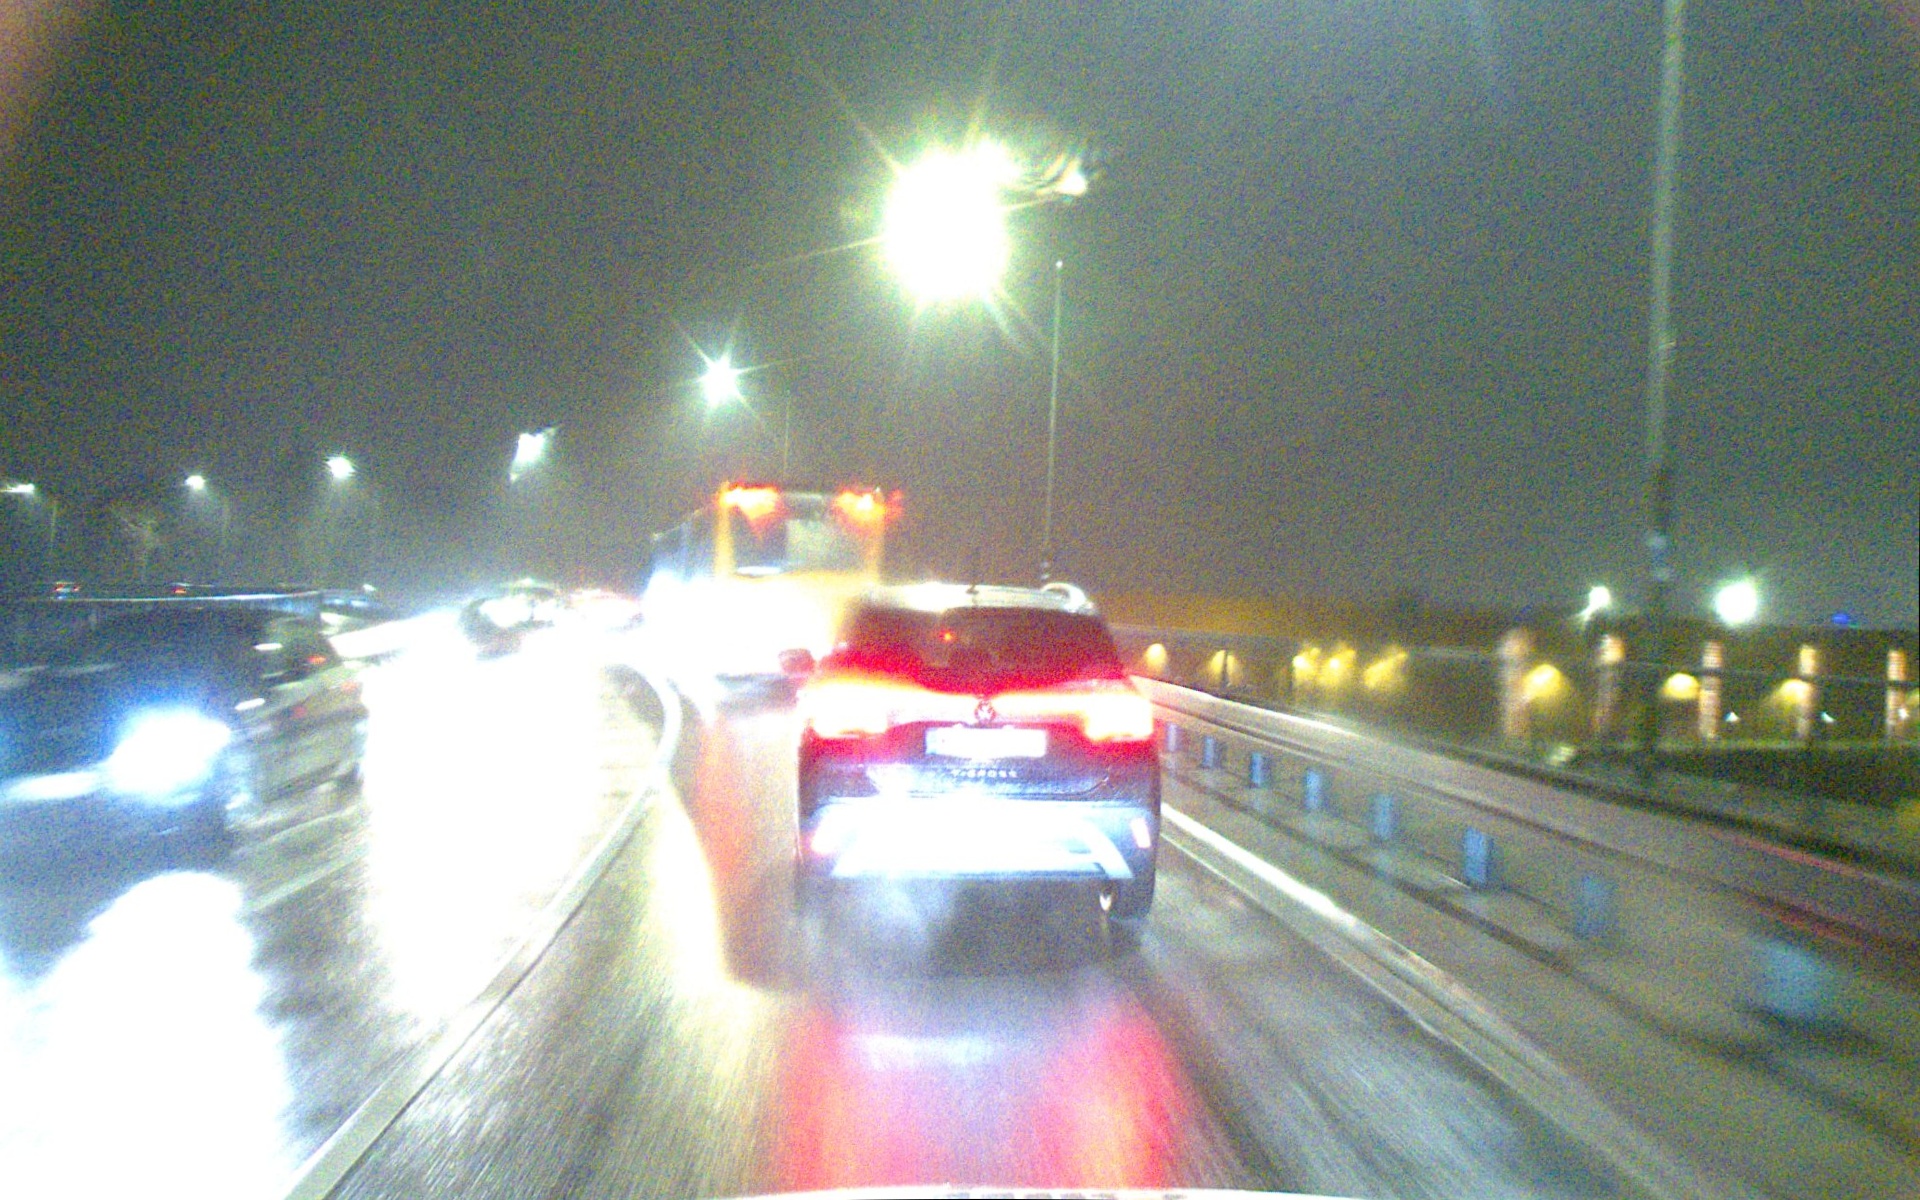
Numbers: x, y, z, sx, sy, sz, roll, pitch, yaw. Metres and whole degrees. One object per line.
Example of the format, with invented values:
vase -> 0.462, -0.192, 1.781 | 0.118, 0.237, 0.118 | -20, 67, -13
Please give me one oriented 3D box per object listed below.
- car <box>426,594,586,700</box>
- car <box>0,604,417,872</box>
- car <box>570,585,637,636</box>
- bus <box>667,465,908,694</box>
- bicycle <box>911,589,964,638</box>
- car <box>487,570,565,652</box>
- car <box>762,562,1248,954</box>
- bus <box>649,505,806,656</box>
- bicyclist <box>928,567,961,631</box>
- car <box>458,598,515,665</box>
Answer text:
car -> -6.753, 0.645, 24.985 | 1.780, 1.428, 4.041 | 0, 1, -7
car -> -5.036, 0.765, 11.176 | 1.650, 1.415, 4.445 | 2, 0, -6
car -> -12.600, 0.395, 58.330 | 1.614, 1.684, 3.682 | -2, -1, -23
bus -> -3.509, -0.341, 29.554 | 3.029, 3.187, 12.660 | 0, 0, -12
bicycle -> -0.516, 0.287, 36.562 | 0.477, 1.052, 2.158 | 1, 0, -20
car -> -10.729, 0.248, 40.731 | 1.726, 1.893, 3.982 | -1, 1, -16
car -> -0.021, 0.649, 8.937 | 1.822, 1.614, 3.991 | 2, 1, -10
bus -> -5.756, -0.471, 39.722 | 2.996, 3.186, 8.052 | 1, 1, -13
bicyclist -> -0.337, -0.031, 36.091 | 0.446, 1.373, 0.759 | 2, 0, -21
car -> -15.046, 0.957, 52.482 | 1.640, 2.049, 3.981 | 0, 0, -17
